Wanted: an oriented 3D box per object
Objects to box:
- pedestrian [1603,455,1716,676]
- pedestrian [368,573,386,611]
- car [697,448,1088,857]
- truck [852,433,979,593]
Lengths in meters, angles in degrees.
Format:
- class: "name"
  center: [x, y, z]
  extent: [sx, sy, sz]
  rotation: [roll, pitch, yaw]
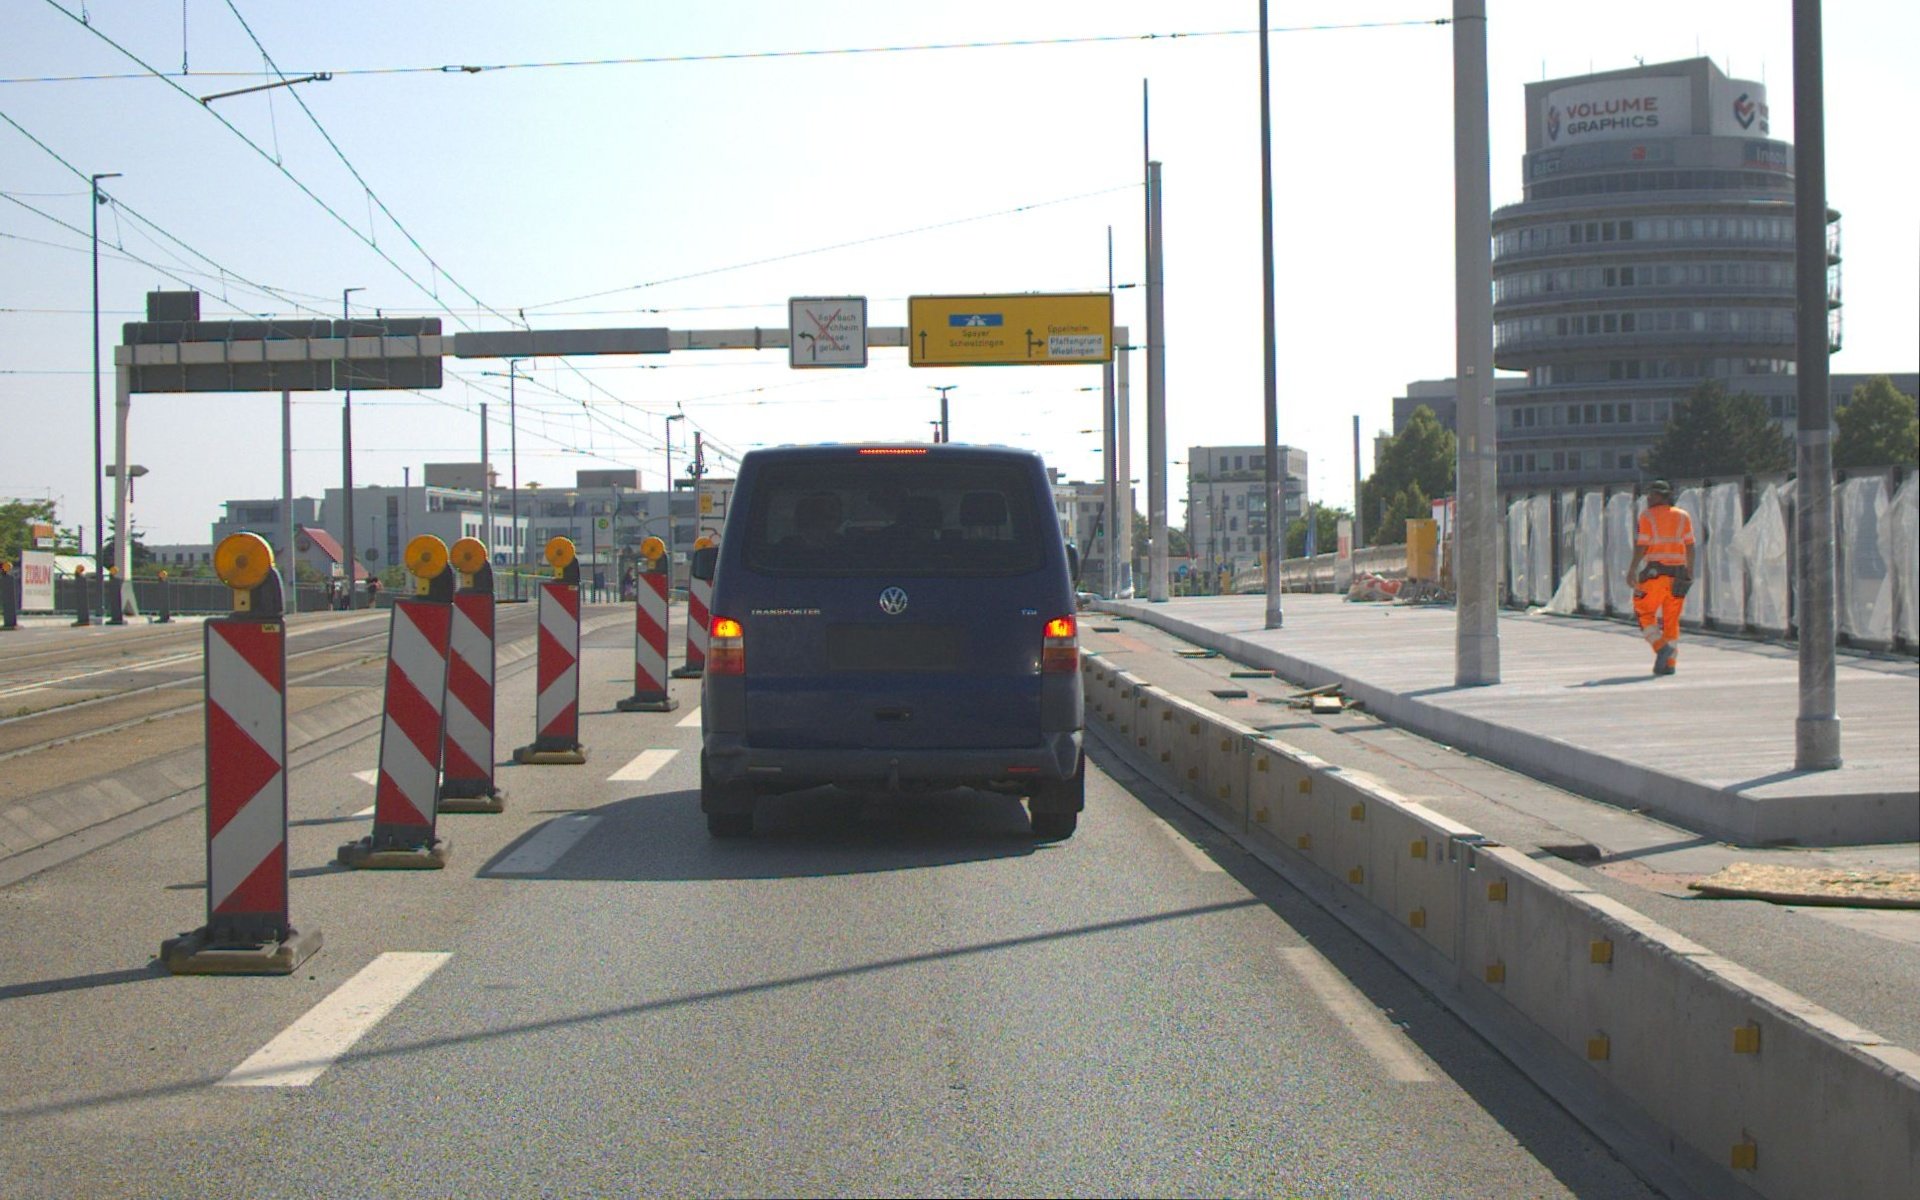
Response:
- class: "pedestrian"
  center: [6.261, -0.305, 30.805]
  extent: [0.782, 1.928, 0.799]
  rotation: [-2, 0, -1]
- class: "pedestrian"
  center: [-24.722, -0.332, 145.808]
  extent: [0.634, 1.593, 0.752]
  rotation: [0, 1, -1]
- class: "car"
  center: [-0.362, 0.185, 18.152]
  extent: [1.815, 1.899, 4.055]
  rotation: [-1, 2, -1]
- class: "truck"
  center: [-0.966, -1.900, 73.498]
  extent: [2.460, 3.124, 11.217]
  rotation: [-1, 2, -1]
